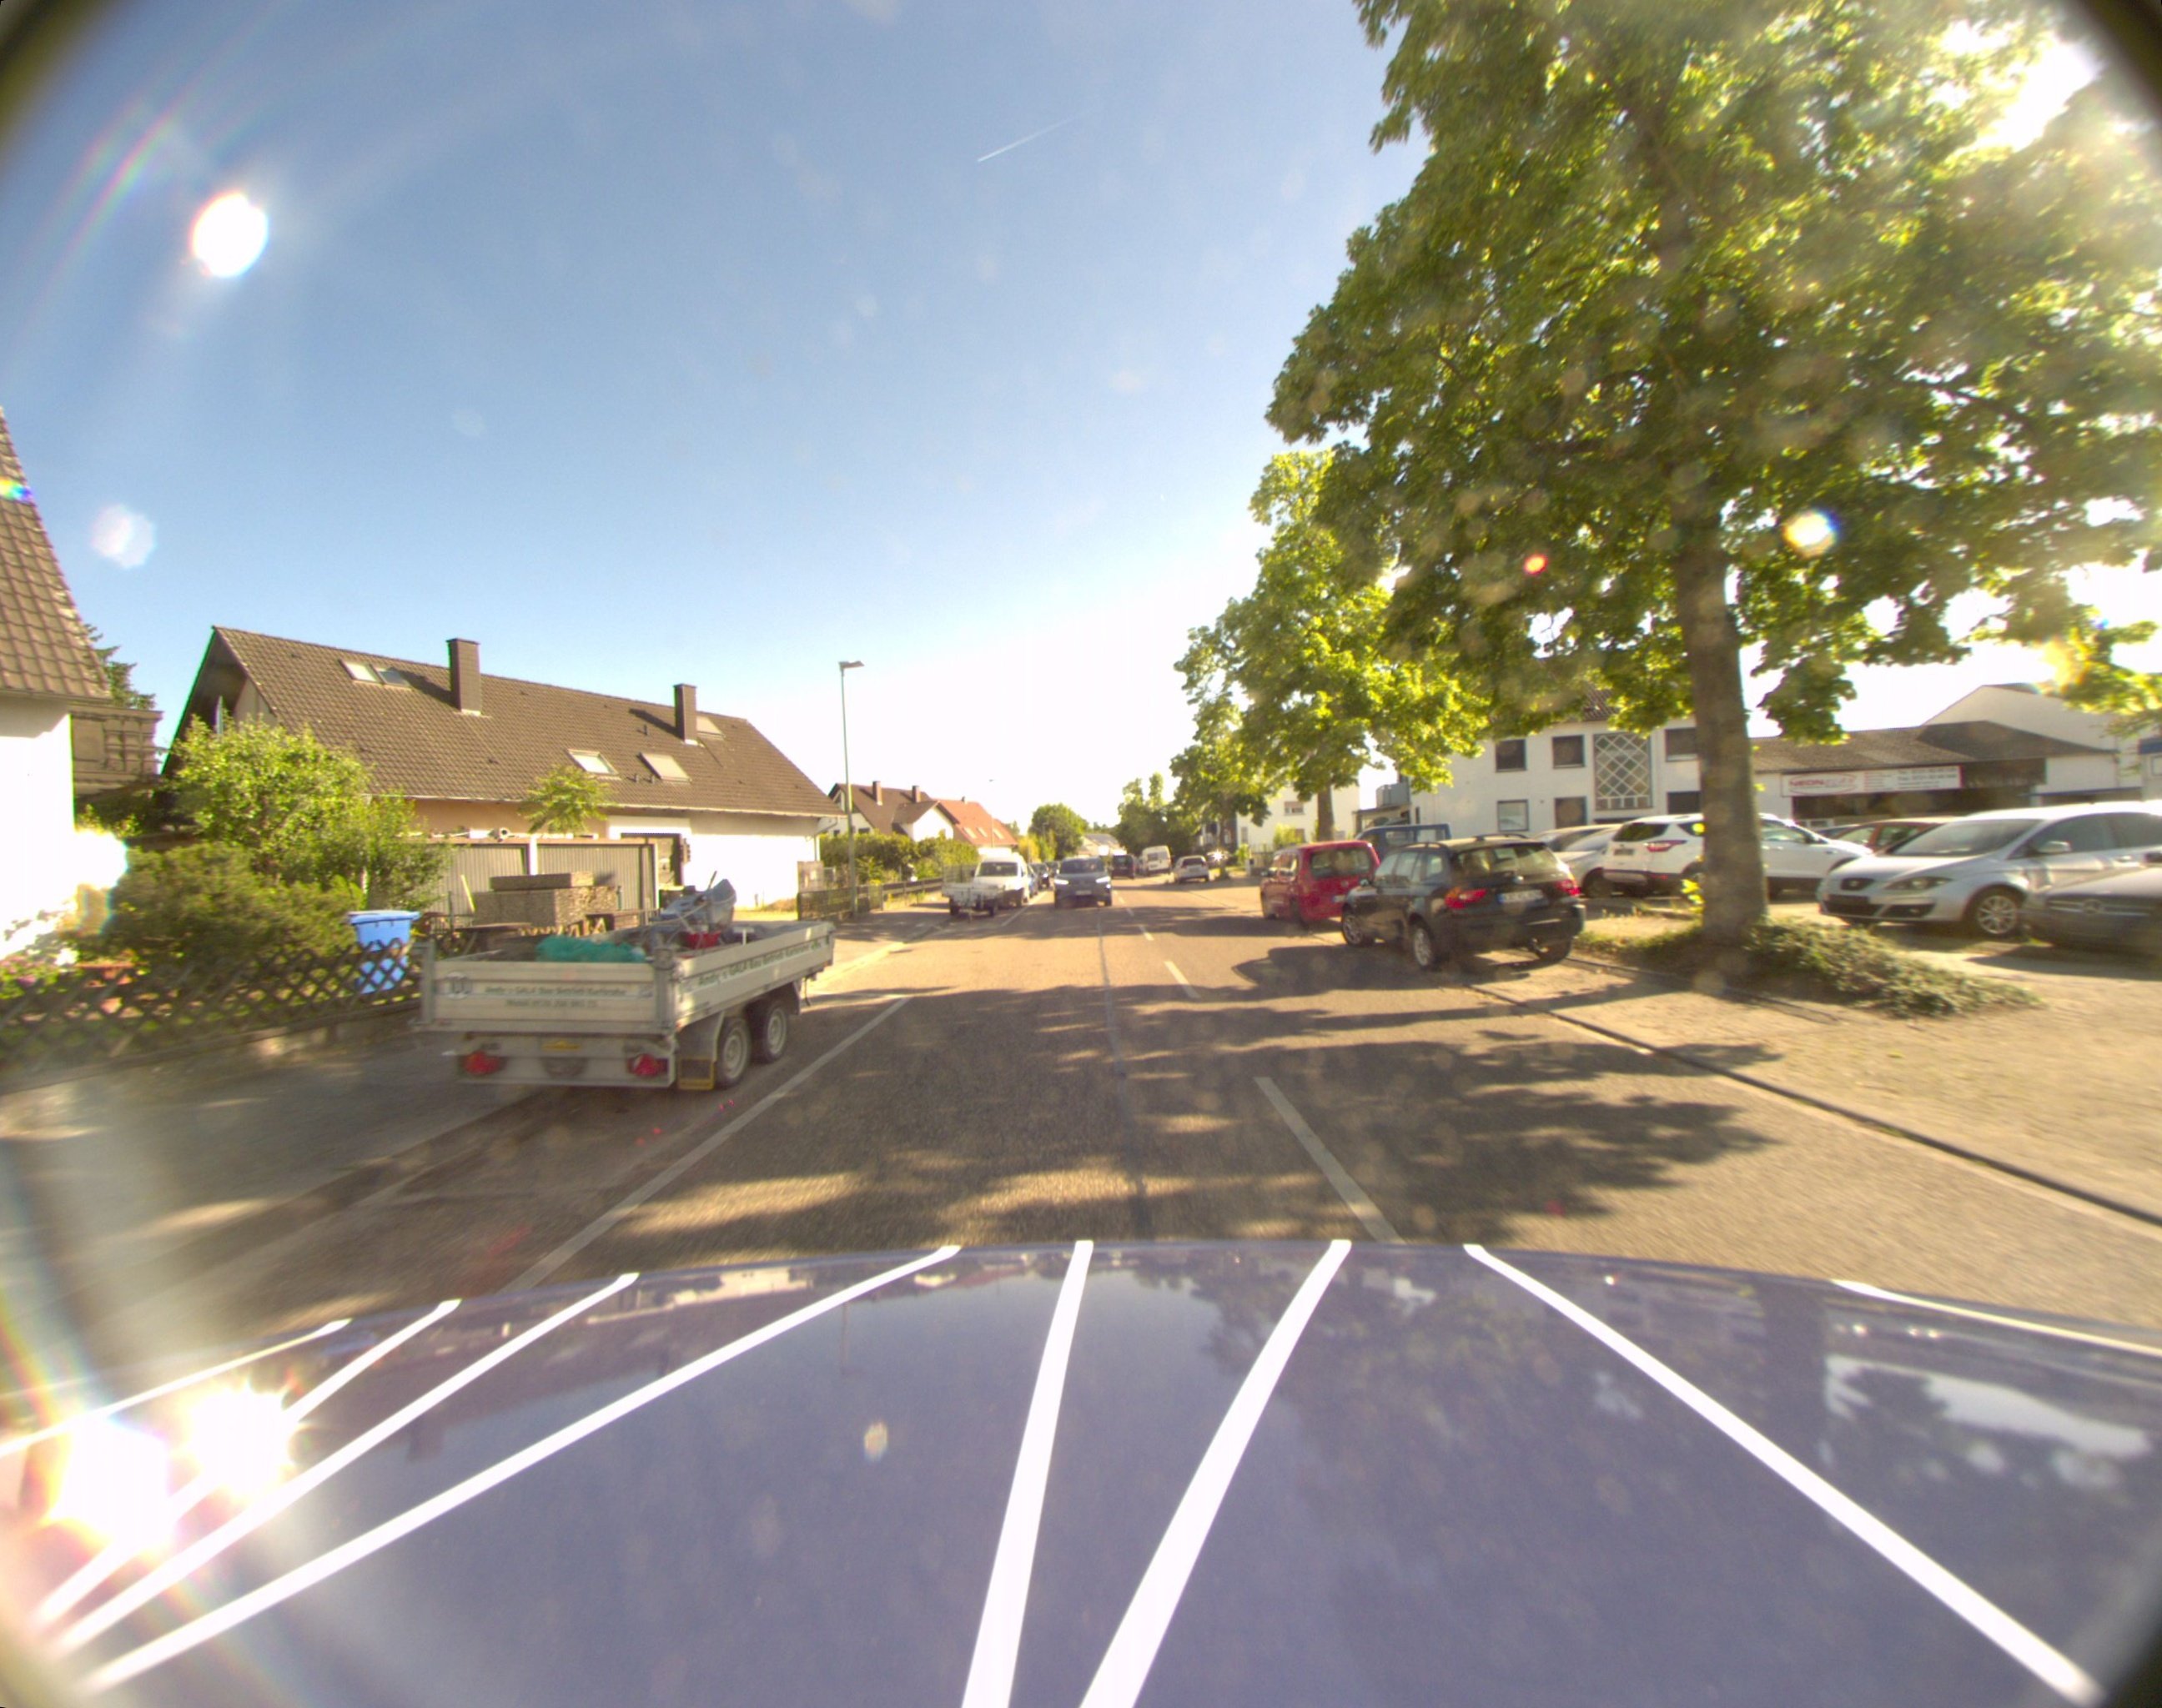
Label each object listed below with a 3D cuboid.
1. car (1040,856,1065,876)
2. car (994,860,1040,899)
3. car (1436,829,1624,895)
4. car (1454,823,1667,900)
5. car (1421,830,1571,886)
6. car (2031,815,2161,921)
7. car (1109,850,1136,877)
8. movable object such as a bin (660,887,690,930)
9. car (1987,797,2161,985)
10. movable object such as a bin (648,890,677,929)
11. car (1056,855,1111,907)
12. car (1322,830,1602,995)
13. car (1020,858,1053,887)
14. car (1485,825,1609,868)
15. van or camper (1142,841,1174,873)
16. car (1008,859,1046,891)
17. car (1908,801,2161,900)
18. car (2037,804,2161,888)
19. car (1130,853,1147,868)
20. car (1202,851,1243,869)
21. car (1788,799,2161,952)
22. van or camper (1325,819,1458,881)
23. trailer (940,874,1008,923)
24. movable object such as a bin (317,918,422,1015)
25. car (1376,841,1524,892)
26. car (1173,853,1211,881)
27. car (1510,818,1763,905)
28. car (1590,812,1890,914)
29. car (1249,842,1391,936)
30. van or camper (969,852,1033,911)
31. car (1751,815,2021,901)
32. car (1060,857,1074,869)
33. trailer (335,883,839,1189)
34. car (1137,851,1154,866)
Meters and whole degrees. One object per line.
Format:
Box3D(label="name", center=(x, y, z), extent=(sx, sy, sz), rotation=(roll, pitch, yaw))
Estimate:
Box3D(label="car", center=(-2.448, 1.010, 67.009), extent=(1.780, 1.649, 4.304), rotation=(-3, 0, 2))
Box3D(label="car", center=(-2.778, 1.076, 33.492), extent=(1.723, 1.496, 3.563), rotation=(-3, 0, -1))
Box3D(label="car", center=(12.659, 0.217, 21.607), extent=(4.259, 1.576, 1.766), rotation=(-3, 0, 0))
Box3D(label="car", center=(12.147, 0.197, 19.469), extent=(4.258, 1.742, 1.766), rotation=(-2, 0, 4))
Box3D(label="car", center=(12.947, 0.125, 23.858), extent=(3.814, 1.533, 1.548), rotation=(-3, 0, 1))
Box3D(label="car", center=(16.273, 0.171, 10.449), extent=(1.667, 1.508, 4.002), rotation=(-2, 0, 7))
Box3D(label="car", center=(3.248, 0.704, 60.078), extent=(1.899, 2.019, 4.818), rotation=(-1, 0, 1))
Box3D(label="movable object such as a bin", center=(-10.892, 1.458, 20.396), extent=(0.503, 1.090, 0.459), rotation=(-2, 0, 28))
Box3D(label="car", center=(12.017, 0.263, 7.258), extent=(4.257, 1.718, 1.766), rotation=(-2, 0, 7))
Box3D(label="movable object such as a bin", center=(-11.378, 1.514, 20.658), extent=(0.503, 1.020, 0.459), rotation=(-2, 0, 28))
Box3D(label="car", center=(0.079, 0.906, 26.771), extent=(1.777, 1.624, 3.704), rotation=(-2, -1, 0))
Box3D(label="car", center=(5.087, 0.674, 10.986), extent=(1.678, 1.761, 4.555), rotation=(-5, 0, 0))
Box3D(label="car", center=(-2.748, 1.104, 47.171), extent=(1.780, 1.649, 3.816), rotation=(-3, 0, -1))
Box3D(label="car", center=(18.944, -0.324, 31.036), extent=(3.988, 1.570, 1.680), rotation=(-2, 2, 14))
Box3D(label="van or camper", center=(6.627, 0.312, 66.054), extent=(2.128, 2.475, 5.556), rotation=(-4, -1, 1))
Box3D(label="car", center=(-2.828, 1.066, 40.593), extent=(1.723, 1.496, 3.906), rotation=(-3, 0, 0))
Box3D(label="car", center=(18.494, -0.095, 14.342), extent=(1.667, 1.609, 4.002), rotation=(-2, 0, 7))
Box3D(label="car", center=(20.773, -0.189, 14.078), extent=(1.667, 1.555, 3.717), rotation=(-2, 0, 7))
Box3D(label="car", center=(6.510, 0.691, 85.922), extent=(1.696, 1.556, 3.908), rotation=(-5, 0, 4))
Box3D(label="car", center=(13.089, 0.552, 70.195), extent=(1.610, 1.505, 4.396), rotation=(-3, 0, 41))
Box3D(label="car", center=(12.168, 0.236, 9.834), extent=(4.258, 1.718, 1.766), rotation=(-2, 0, 3))
Box3D(label="van or camper", center=(13.075, -0.174, 32.365), extent=(4.900, 2.307, 2.246), rotation=(-3, 1, 14))
Box3D(label="trailer", center=(-3.105, 1.272, 22.553), extent=(1.631, 1.210, 3.144), rotation=(-2, 0, -2))
Box3D(label="movable object such as a bin", center=(-8.627, 1.338, 9.230), extent=(0.524, 1.047, 0.754), rotation=(-2, 1, 26))
Box3D(label="car", center=(12.799, 0.415, 26.568), extent=(4.257, 1.533, 1.766), rotation=(-3, 0, 7))
Box3D(label="car", center=(6.350, 0.723, 43.882), extent=(1.691, 1.427, 4.209), rotation=(-5, 0, 3))
Box3D(label="car", center=(12.309, 0.176, 17.100), extent=(4.257, 1.718, 1.766), rotation=(-2, 0, 7))
Box3D(label="car", center=(12.688, 0.170, 14.835), extent=(4.259, 1.718, 1.766), rotation=(-2, 0, 2))
Box3D(label="car", center=(5.207, 0.690, 17.201), extent=(1.808, 1.742, 4.342), rotation=(-4, 0, 1))
Box3D(label="van or camper", center=(-2.779, 0.918, 27.338), extent=(1.723, 1.879, 4.179), rotation=(-3, 0, 1))
Box3D(label="car", center=(16.411, 0.067, 15.844), extent=(1.667, 1.508, 4.002), rotation=(-2, 0, 7))
Box3D(label="car", center=(-1.858, 1.196, 100.493), extent=(1.646, 1.485, 3.890), rotation=(-2, 0, 2))
Box3D(label="trailer", center=(-3.259, 1.077, 5.817), extent=(1.631, 1.529, 3.198), rotation=(-2, 0, 2))
Box3D(label="car", center=(6.668, 0.479, 79.050), extent=(1.613, 1.427, 4.314), rotation=(-4, 0, 4))
